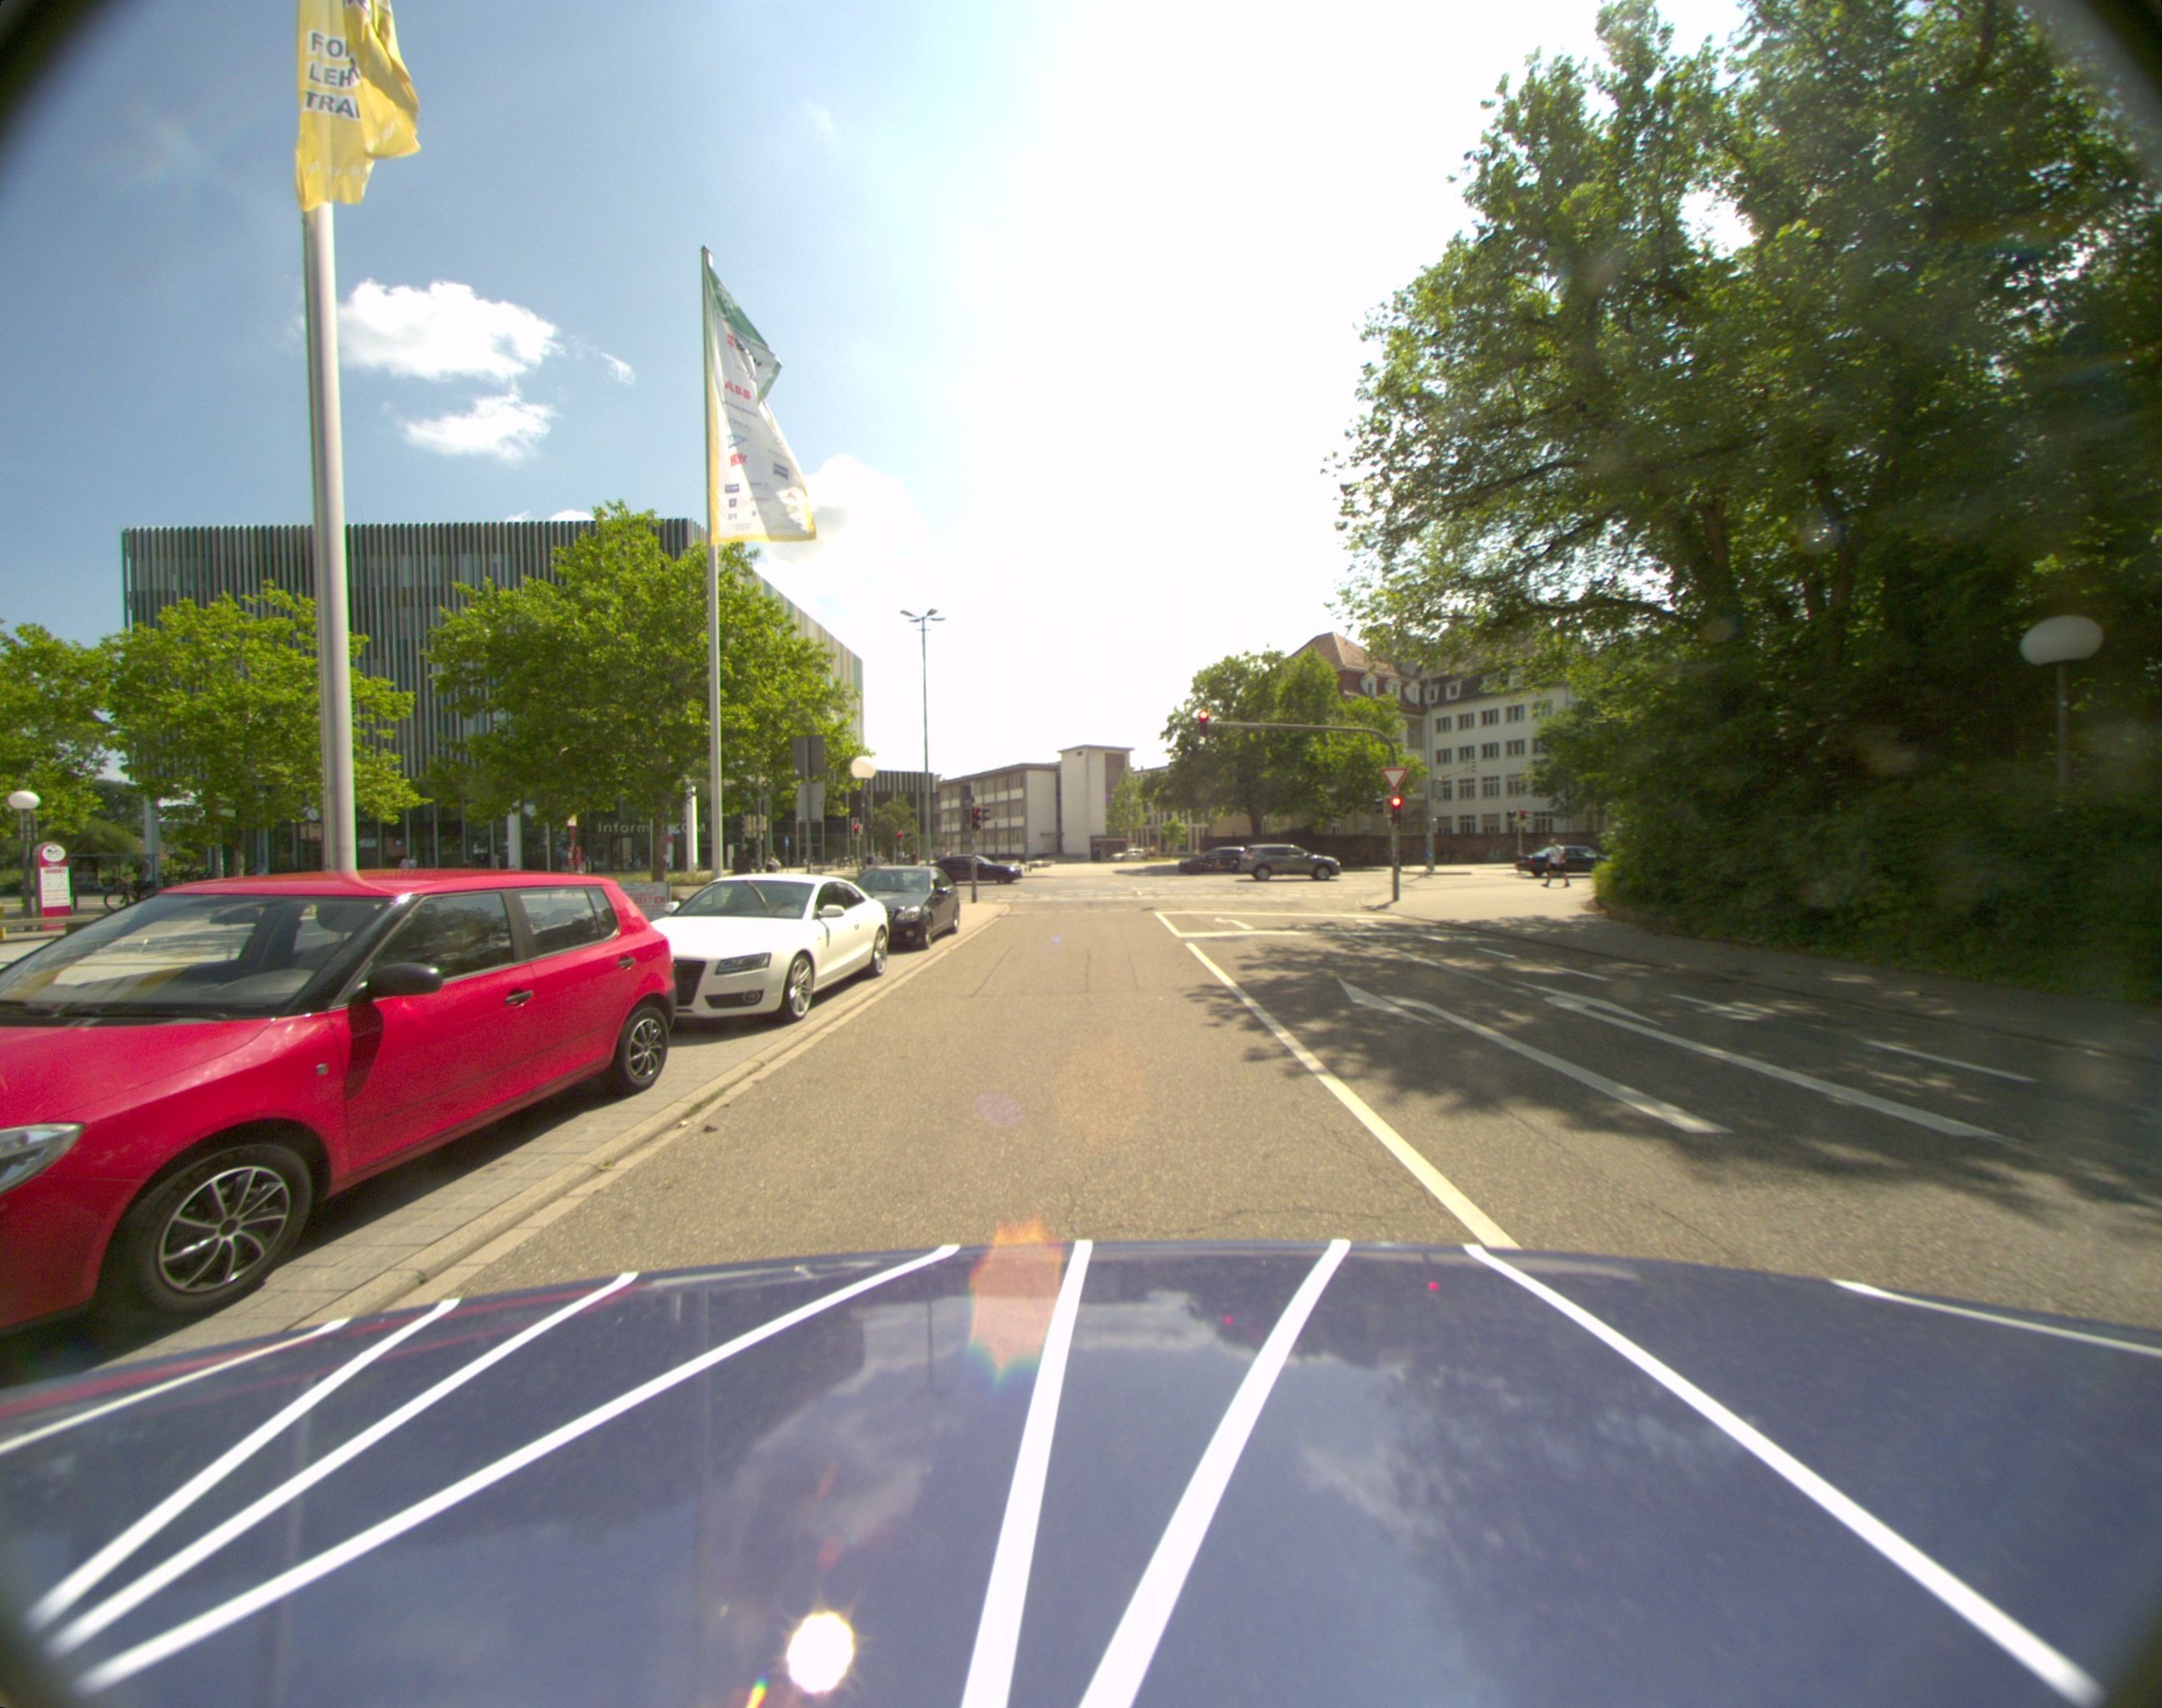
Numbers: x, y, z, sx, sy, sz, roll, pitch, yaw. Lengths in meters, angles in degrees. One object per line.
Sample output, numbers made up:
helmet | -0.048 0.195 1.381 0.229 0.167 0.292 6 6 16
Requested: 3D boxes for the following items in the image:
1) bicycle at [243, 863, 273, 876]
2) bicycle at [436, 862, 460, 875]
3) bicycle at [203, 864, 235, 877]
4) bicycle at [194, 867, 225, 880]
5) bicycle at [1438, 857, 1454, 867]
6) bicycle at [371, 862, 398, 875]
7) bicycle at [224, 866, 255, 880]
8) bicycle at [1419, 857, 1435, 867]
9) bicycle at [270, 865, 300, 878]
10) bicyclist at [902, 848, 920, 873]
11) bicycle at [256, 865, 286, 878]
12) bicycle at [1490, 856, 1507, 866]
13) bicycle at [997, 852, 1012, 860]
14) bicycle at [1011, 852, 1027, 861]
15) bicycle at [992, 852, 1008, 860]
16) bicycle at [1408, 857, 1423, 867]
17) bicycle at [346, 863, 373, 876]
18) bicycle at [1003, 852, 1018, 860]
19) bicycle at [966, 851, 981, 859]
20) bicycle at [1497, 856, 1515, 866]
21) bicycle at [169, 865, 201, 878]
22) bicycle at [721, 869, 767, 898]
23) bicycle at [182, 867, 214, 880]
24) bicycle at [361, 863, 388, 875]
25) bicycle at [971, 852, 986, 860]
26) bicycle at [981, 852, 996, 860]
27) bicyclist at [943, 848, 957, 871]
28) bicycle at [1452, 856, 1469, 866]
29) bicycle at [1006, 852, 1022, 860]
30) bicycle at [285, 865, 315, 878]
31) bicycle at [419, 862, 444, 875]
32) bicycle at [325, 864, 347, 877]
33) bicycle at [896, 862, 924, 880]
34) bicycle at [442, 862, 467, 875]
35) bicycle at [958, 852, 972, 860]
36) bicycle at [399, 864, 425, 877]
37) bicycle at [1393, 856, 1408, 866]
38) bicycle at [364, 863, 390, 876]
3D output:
bicycle | -66.208 1.228 61.126 0.433 0.950 1.784 -1 2 1
bicycle | -50.830 1.122 61.016 0.373 0.950 1.548 0 2 16
bicycle | -69.399 1.333 61.204 0.433 0.950 1.784 -1 2 1
bicycle | -70.171 1.534 61.194 0.433 0.950 1.784 -1 2 1
bicycle | 26.412 0.557 54.946 0.409 0.678 1.005 -2 3 -24
bicycle | -55.750 1.123 60.844 0.373 0.950 1.548 0 2 16
bicycle | -67.632 1.519 61.059 0.433 0.950 1.784 -1 2 1
bicycle | 25.017 0.568 54.955 0.409 0.678 1.005 -2 3 -24
bicycle | -64.048 1.413 61.169 0.433 0.950 1.784 -1 2 1
bicyclist | -11.248 0.440 50.210 1.001 1.606 0.656 -2 1 -28
bicycle | -65.318 1.428 61.267 0.433 0.950 1.784 -1 2 1
bicycle | 30.244 0.520 55.085 0.409 0.678 1.004 -2 3 -37
bicycle | -9.030 0.261 89.878 1.776 0.950 0.528 -1 3 -27
bicycle | -7.064 0.266 86.858 1.776 0.950 0.528 -1 3 -25
bicycle | -9.723 0.265 91.000 1.776 0.950 0.528 -1 3 -27
bicycle | 24.140 0.580 54.813 0.409 0.678 1.005 -2 3 -24
bicycle | -58.010 1.273 61.070 0.373 0.950 1.548 0 2 16
bicycle | -8.244 0.249 88.826 1.776 0.950 0.528 -1 3 -27
bicycle | -13.606 0.143 95.855 1.776 0.950 0.528 -1 3 -27
bicycle | 30.909 0.507 55.274 0.409 0.678 1.004 -2 3 -37
bicycle | -72.169 1.371 61.221 0.433 0.950 1.784 -1 2 1
bicycle | -12.711 1.124 28.737 0.817 1.066 1.892 0 -2 3
bicycle | -71.079 1.542 61.168 0.433 0.950 1.784 -1 2 1
bicycle | -56.789 1.198 61.066 0.373 0.950 1.548 0 2 16
bicycle | -12.843 0.258 94.796 1.776 0.950 0.528 -1 3 -27
bicycle | -11.260 0.275 92.741 1.776 0.950 0.528 -1 3 -27
bicyclist | -8.880 0.347 51.487 0.787 1.530 0.656 -1 1 -23
bicycle | 27.587 0.536 55.237 0.409 0.678 1.005 -2 3 -24
bicycle | -7.814 0.228 88.004 1.776 0.950 0.528 -1 3 -27
bicycle | -62.827 1.403 61.144 0.433 0.950 1.784 -1 2 1
bicycle | -52.022 1.126 60.858 0.373 0.950 1.548 0 2 16
bicycle | -58.872 1.322 60.035 0.373 0.950 1.544 -1 2 -10
bicycle | -11.287 1.120 50.226 1.673 1.118 0.693 -1 1 -27
bicycle | -50.193 1.172 60.852 0.373 0.950 1.548 0 2 16
bicycle | -15.028 0.280 98.591 1.776 0.950 0.528 -1 3 -27
bicycle | -53.271 1.280 60.549 0.373 0.950 1.548 0 2 16
bicycle | 22.973 0.483 54.649 0.409 0.678 1.005 -2 3 -24
bicycle | -56.404 1.221 60.884 0.373 0.950 1.548 0 2 16
